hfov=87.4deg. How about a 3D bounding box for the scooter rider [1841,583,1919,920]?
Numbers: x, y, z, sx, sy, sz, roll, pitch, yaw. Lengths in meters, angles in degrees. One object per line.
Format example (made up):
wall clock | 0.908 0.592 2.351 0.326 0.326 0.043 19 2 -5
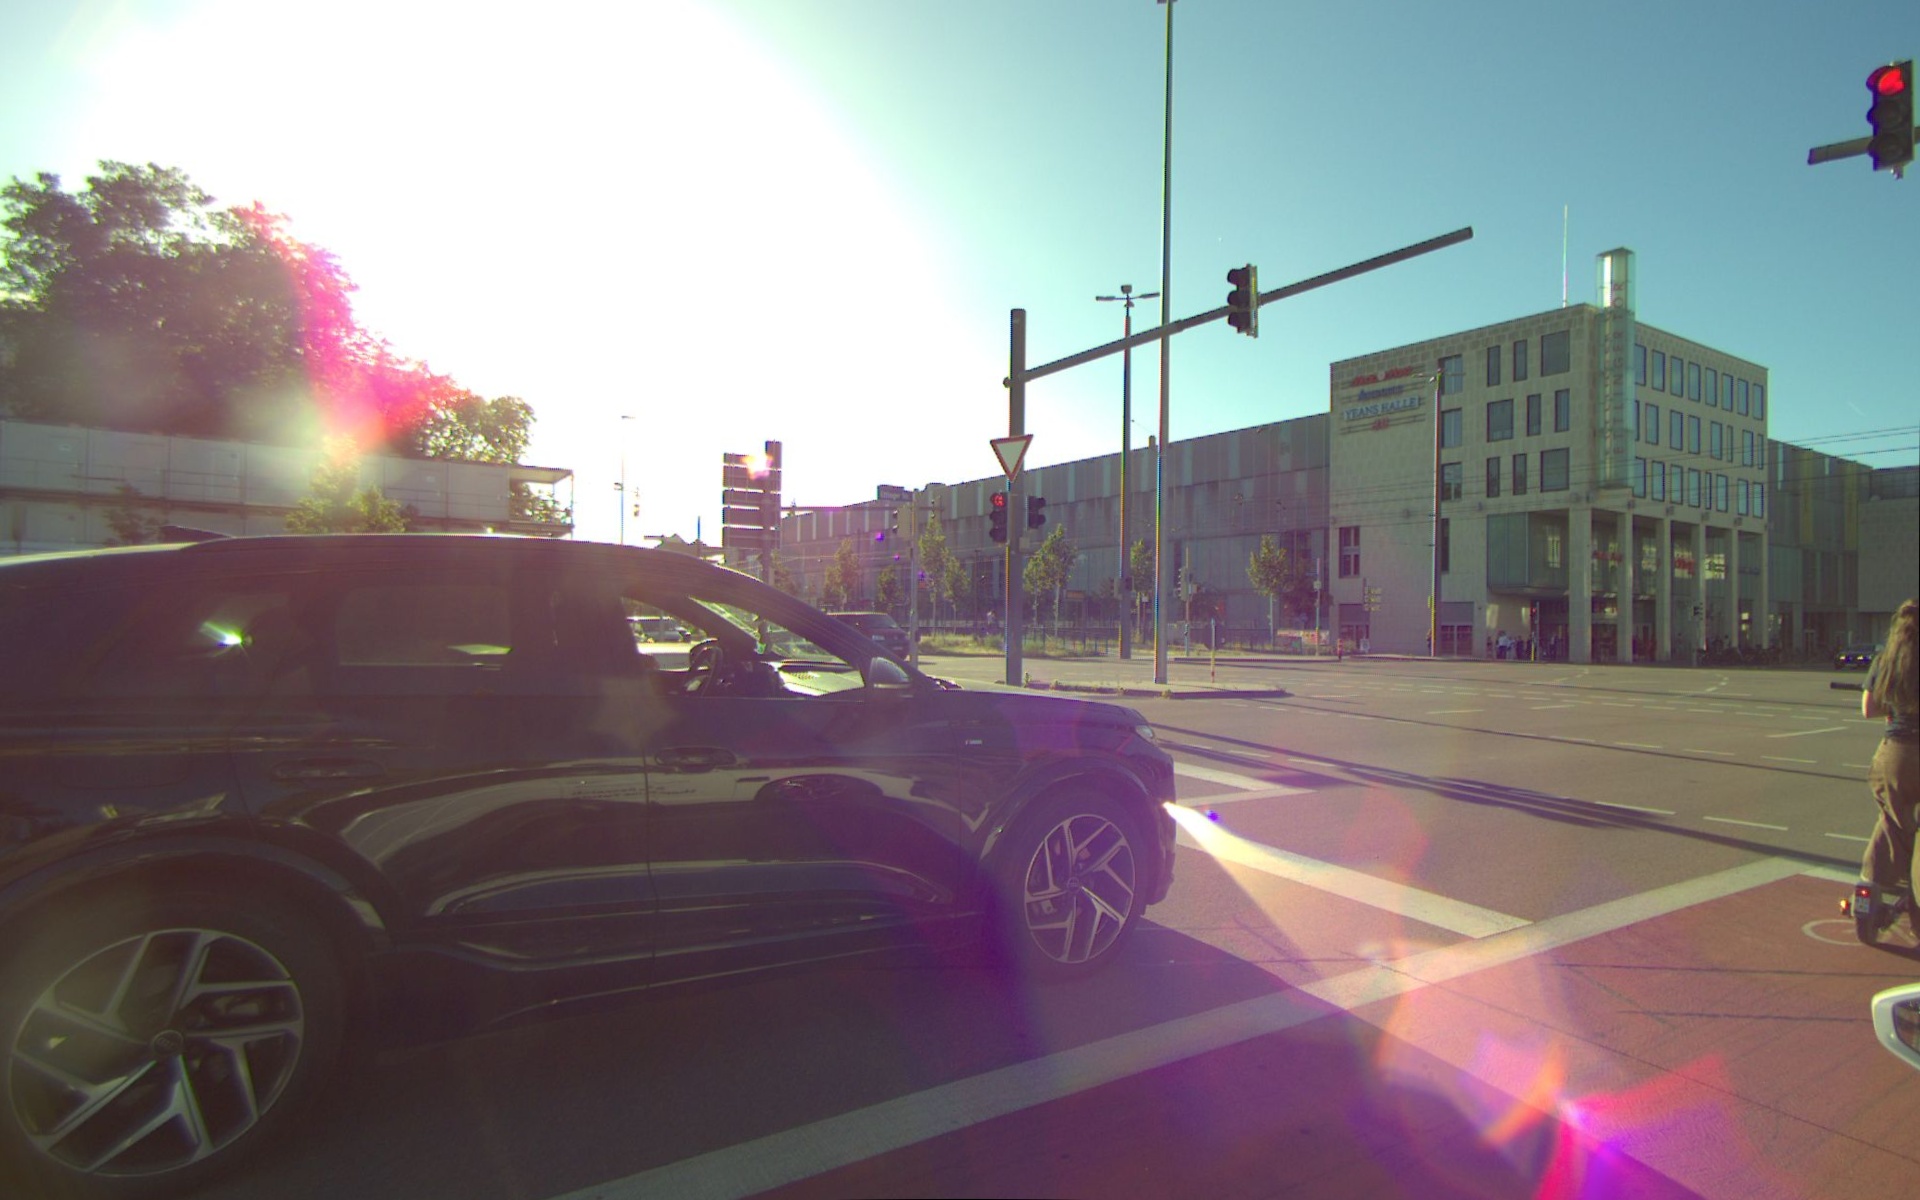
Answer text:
scooter rider | 4.601 0.701 4.771 0.445 1.550 0.548 1 -1 -38

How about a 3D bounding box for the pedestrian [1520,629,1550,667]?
pedestrian | 26.171 2.191 45.710 0.994 1.697 0.818 1 -1 -33

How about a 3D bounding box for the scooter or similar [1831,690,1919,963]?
scooter or similar | 4.329 1.003 4.677 0.832 1.122 0.303 2 -1 -42

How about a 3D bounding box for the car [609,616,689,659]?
car | -14.881 1.748 47.955 1.873 1.947 4.872 1 -2 -41

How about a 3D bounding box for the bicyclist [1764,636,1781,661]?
bicyclist | 48.049 2.882 59.394 0.581 1.467 0.623 1 -1 -28

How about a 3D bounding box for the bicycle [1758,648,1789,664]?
bicycle | 48.102 3.310 59.394 2.191 0.915 0.633 1 -1 -29

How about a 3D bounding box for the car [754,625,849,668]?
car | -5.980 1.713 37.610 1.866 1.500 3.938 1 -2 -38

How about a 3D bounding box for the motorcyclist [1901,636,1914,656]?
motorcyclist | 71.032 3.430 75.304 0.657 1.424 0.623 2 0 -38

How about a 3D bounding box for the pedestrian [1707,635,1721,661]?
pedestrian | 49.918 3.169 66.505 0.622 1.667 0.589 1 -1 -30

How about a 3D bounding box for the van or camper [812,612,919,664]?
van or camper | -3.970 1.529 41.586 1.992 2.040 4.783 2 -2 -42

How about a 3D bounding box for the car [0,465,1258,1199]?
car | -1.214 0.609 4.071 4.613 1.729 2.153 1 -1 -32

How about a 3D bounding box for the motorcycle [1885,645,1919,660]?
motorcycle | 70.941 3.911 75.043 1.106 1.006 2.582 2 0 -38

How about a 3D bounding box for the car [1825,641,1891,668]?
car | 49.669 2.986 55.561 3.975 1.375 1.668 1 -1 -31
